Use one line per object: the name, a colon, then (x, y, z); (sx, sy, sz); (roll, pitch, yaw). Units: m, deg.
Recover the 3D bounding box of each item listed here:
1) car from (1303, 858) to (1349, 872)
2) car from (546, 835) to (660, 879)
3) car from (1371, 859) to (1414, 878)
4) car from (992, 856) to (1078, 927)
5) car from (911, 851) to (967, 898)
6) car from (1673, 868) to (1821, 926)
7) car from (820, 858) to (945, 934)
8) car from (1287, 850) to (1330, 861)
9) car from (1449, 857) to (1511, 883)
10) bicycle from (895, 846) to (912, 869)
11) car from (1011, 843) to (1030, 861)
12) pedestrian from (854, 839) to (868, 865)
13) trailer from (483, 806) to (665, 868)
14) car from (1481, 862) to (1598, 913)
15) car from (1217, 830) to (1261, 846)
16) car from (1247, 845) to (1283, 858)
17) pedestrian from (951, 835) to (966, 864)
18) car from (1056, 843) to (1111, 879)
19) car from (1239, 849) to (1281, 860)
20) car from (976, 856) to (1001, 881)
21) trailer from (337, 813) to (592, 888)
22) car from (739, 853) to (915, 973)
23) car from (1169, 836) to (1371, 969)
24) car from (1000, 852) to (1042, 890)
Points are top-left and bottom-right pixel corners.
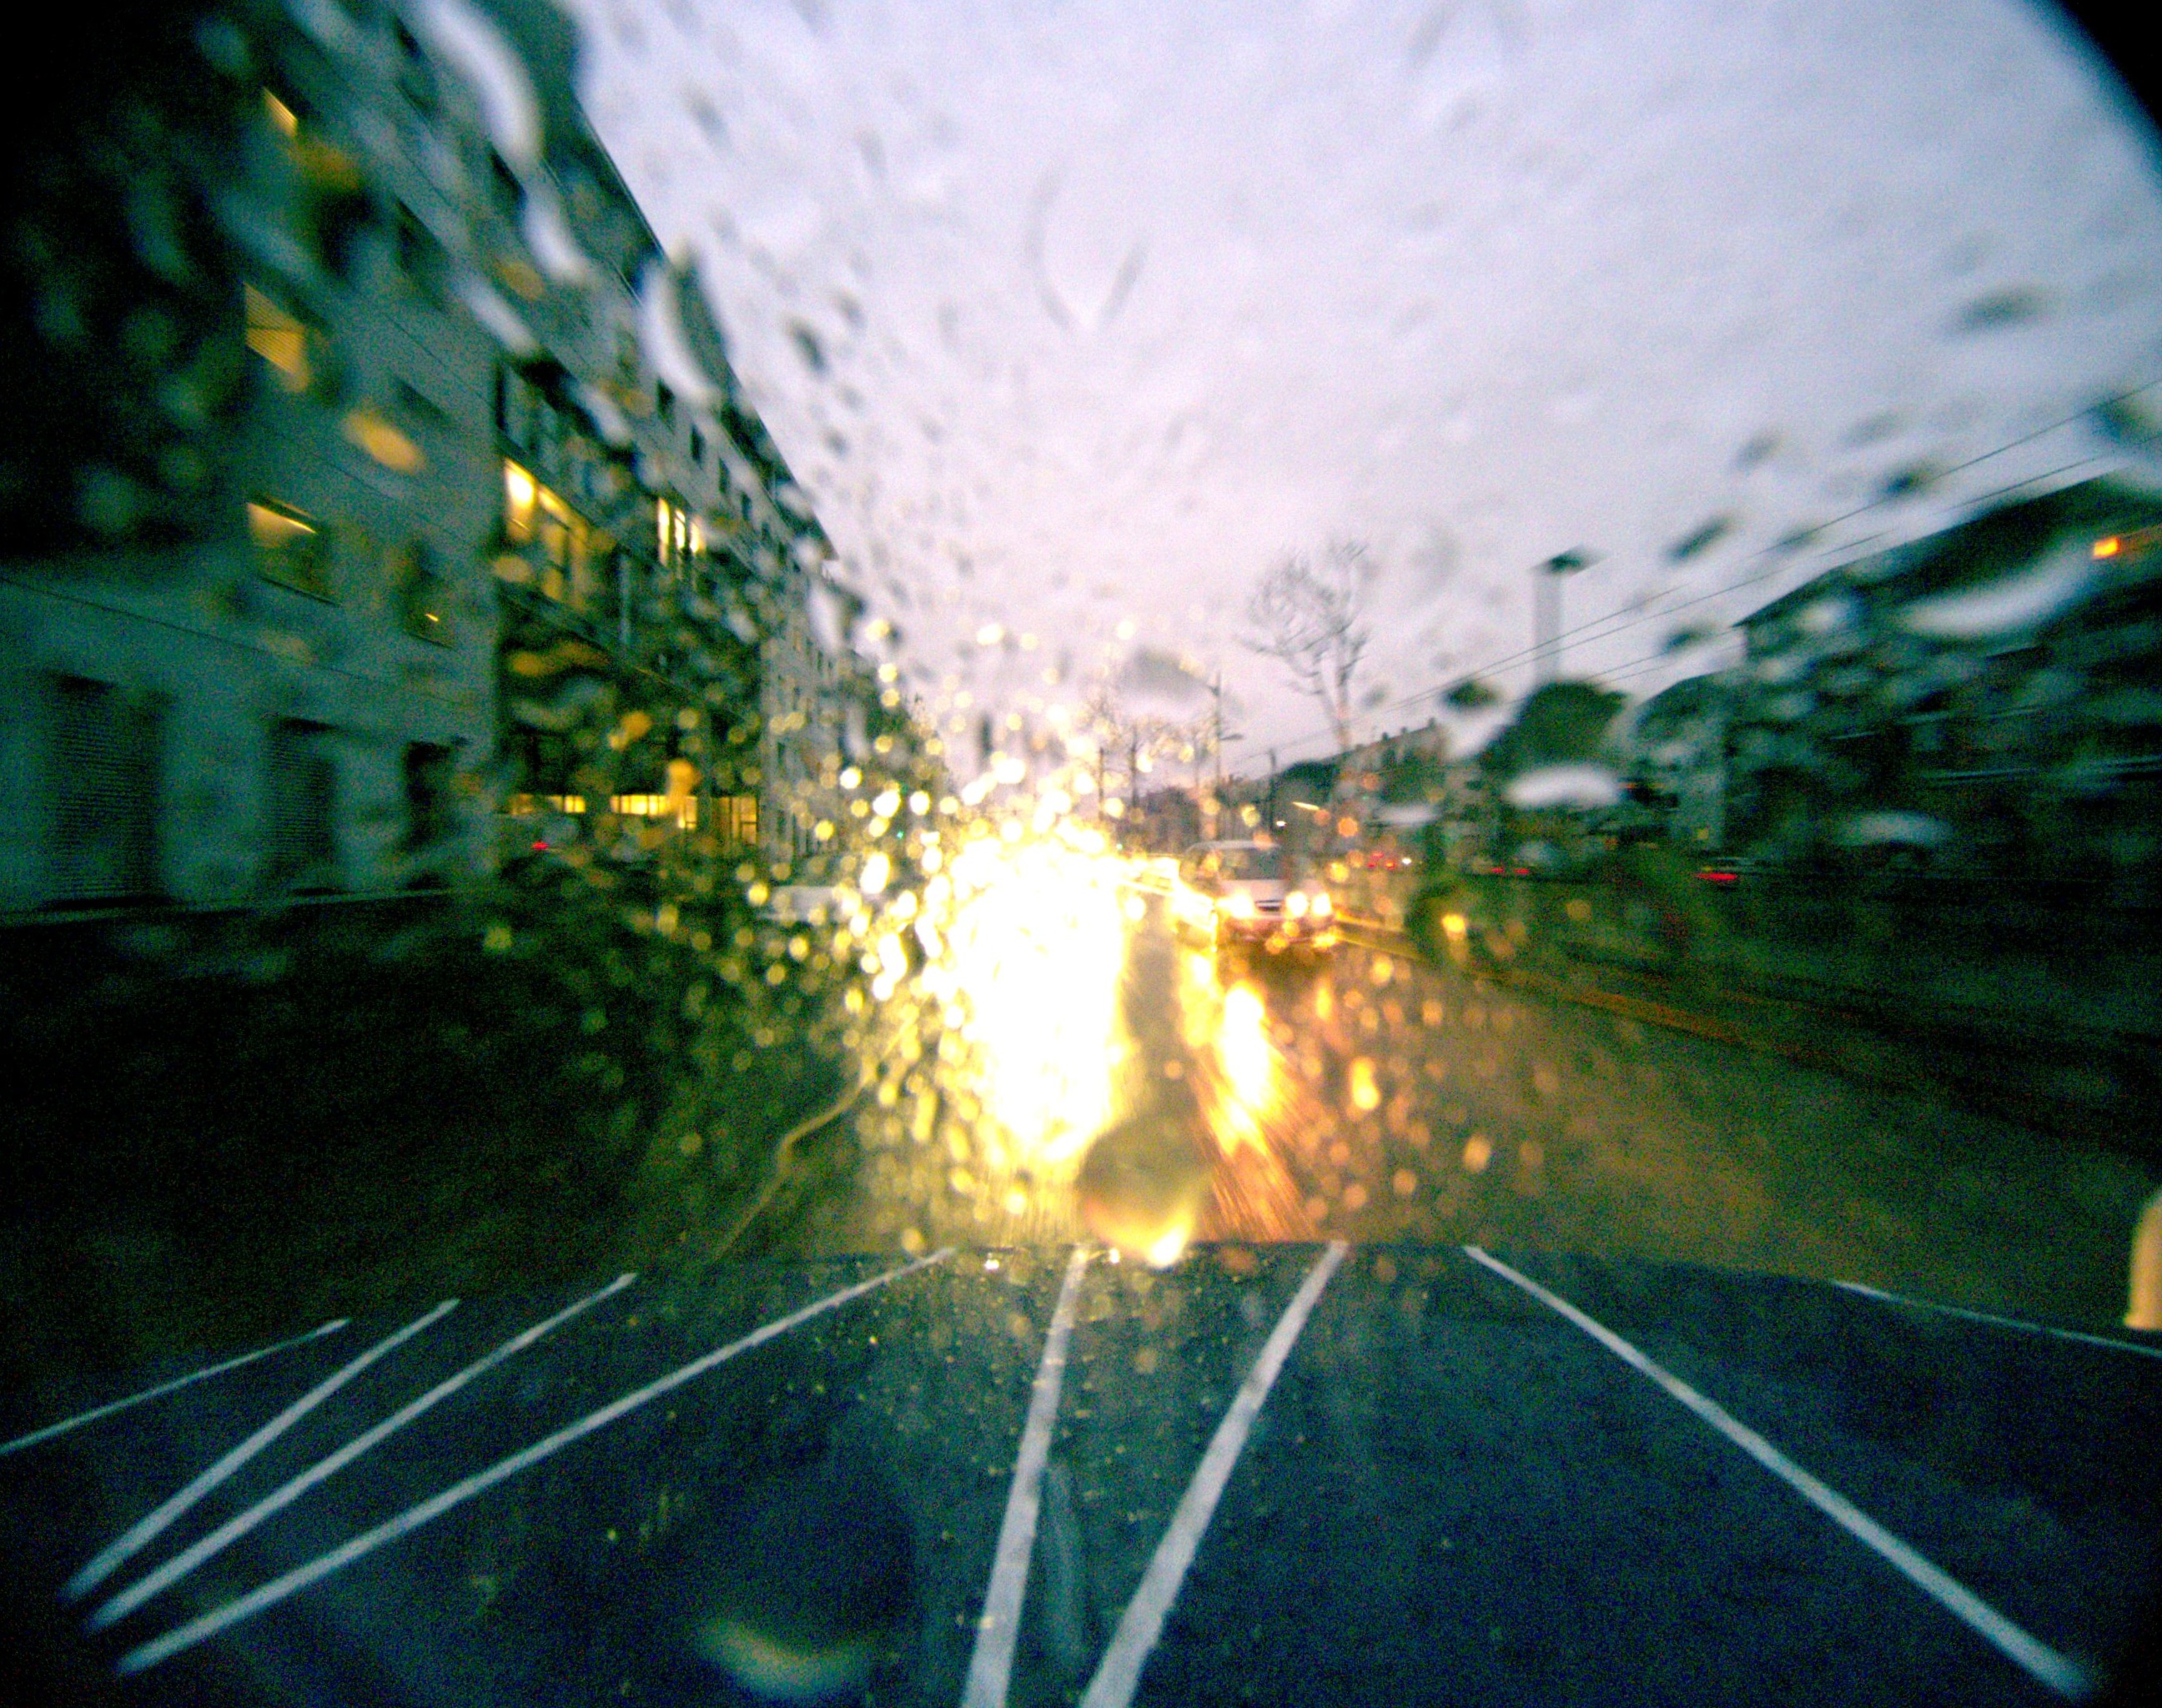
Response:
car: (23.130, 0.986, 71.779); (3.989, 1.249, 1.446); (0, 2, 28)
car: (-16.555, 0.041, 26.576); (1.637, 1.363, 4.526); (2, 1, -8)
car: (17.290, 0.780, 42.254); (1.147, 0.932, 2.489); (0, 1, -6)
car: (-1.097, 0.772, 17.643); (1.758, 1.418, 3.802); (-1, 0, -5)
car: (-5.054, 0.668, 27.512); (1.601, 1.432, 4.225); (-1, 2, -6)
car: (24.257, 1.498, 27.900); (1.696, 1.749, 3.996); (-1, 2, -6)
car: (-4.160, 0.811, 16.625); (1.759, 1.395, 4.248); (-1, 0, -3)
car: (23.096, 0.134, 77.256); (3.989, 1.125, 1.364); (0, 2, 30)
car: (22.878, 0.889, 43.716); (1.591, 1.350, 3.373); (-1, 2, -5)
bicycle: (-9.127, 0.157, 39.125); (0.552, 1.109, 2.164); (2, 2, -6)
car: (-6.635, -0.223, 83.446); (1.999, 1.775, 3.694); (-1, 2, -3)
pedestrian: (-14.634, -0.132, 50.568); (0.739, 1.726, 0.702); (-1, 2, -9)
trailer: (-22.064, -0.710, 33.379); (6.279, 2.566, 2.208); (1, 1, -10)
car: (20.520, 1.433, 34.296); (2.029, 1.902, 4.898); (-1, 2, -5)
car: (22.584, -2.308, 108.775); (5.894, 2.242, 1.824); (0, 2, 27)
car: (21.798, -0.346, 90.115); (4.002, 1.496, 1.315); (0, 2, 29)
pedestrian: (-7.777, -0.281, 48.251); (0.773, 1.798, 0.698); (4, 2, -9)
car: (0.038, 0.285, 34.432); (1.976, 1.492, 4.088); (-1, 1, -7)
car: (20.021, 0.026, 85.085); (4.394, 1.125, 1.249); (1, 3, 28)
car: (-7.029, 1.078, 58.093); (1.610, 1.666, 3.683); (-1, 2, -3)
trailer: (-16.280, -0.072, 20.287); (5.080, 1.900, 2.130); (0, -1, 0)
car: (-3.392, 0.709, 10.764); (1.596, 1.386, 3.484); (2, 0, -6)
car: (2.701, 0.586, 11.891); (2.021, 1.668, 3.998); (-1, 2, -2)
car: (-2.782, 0.744, 34.847); (1.765, 1.520, 3.731); (-1, 2, -6)
